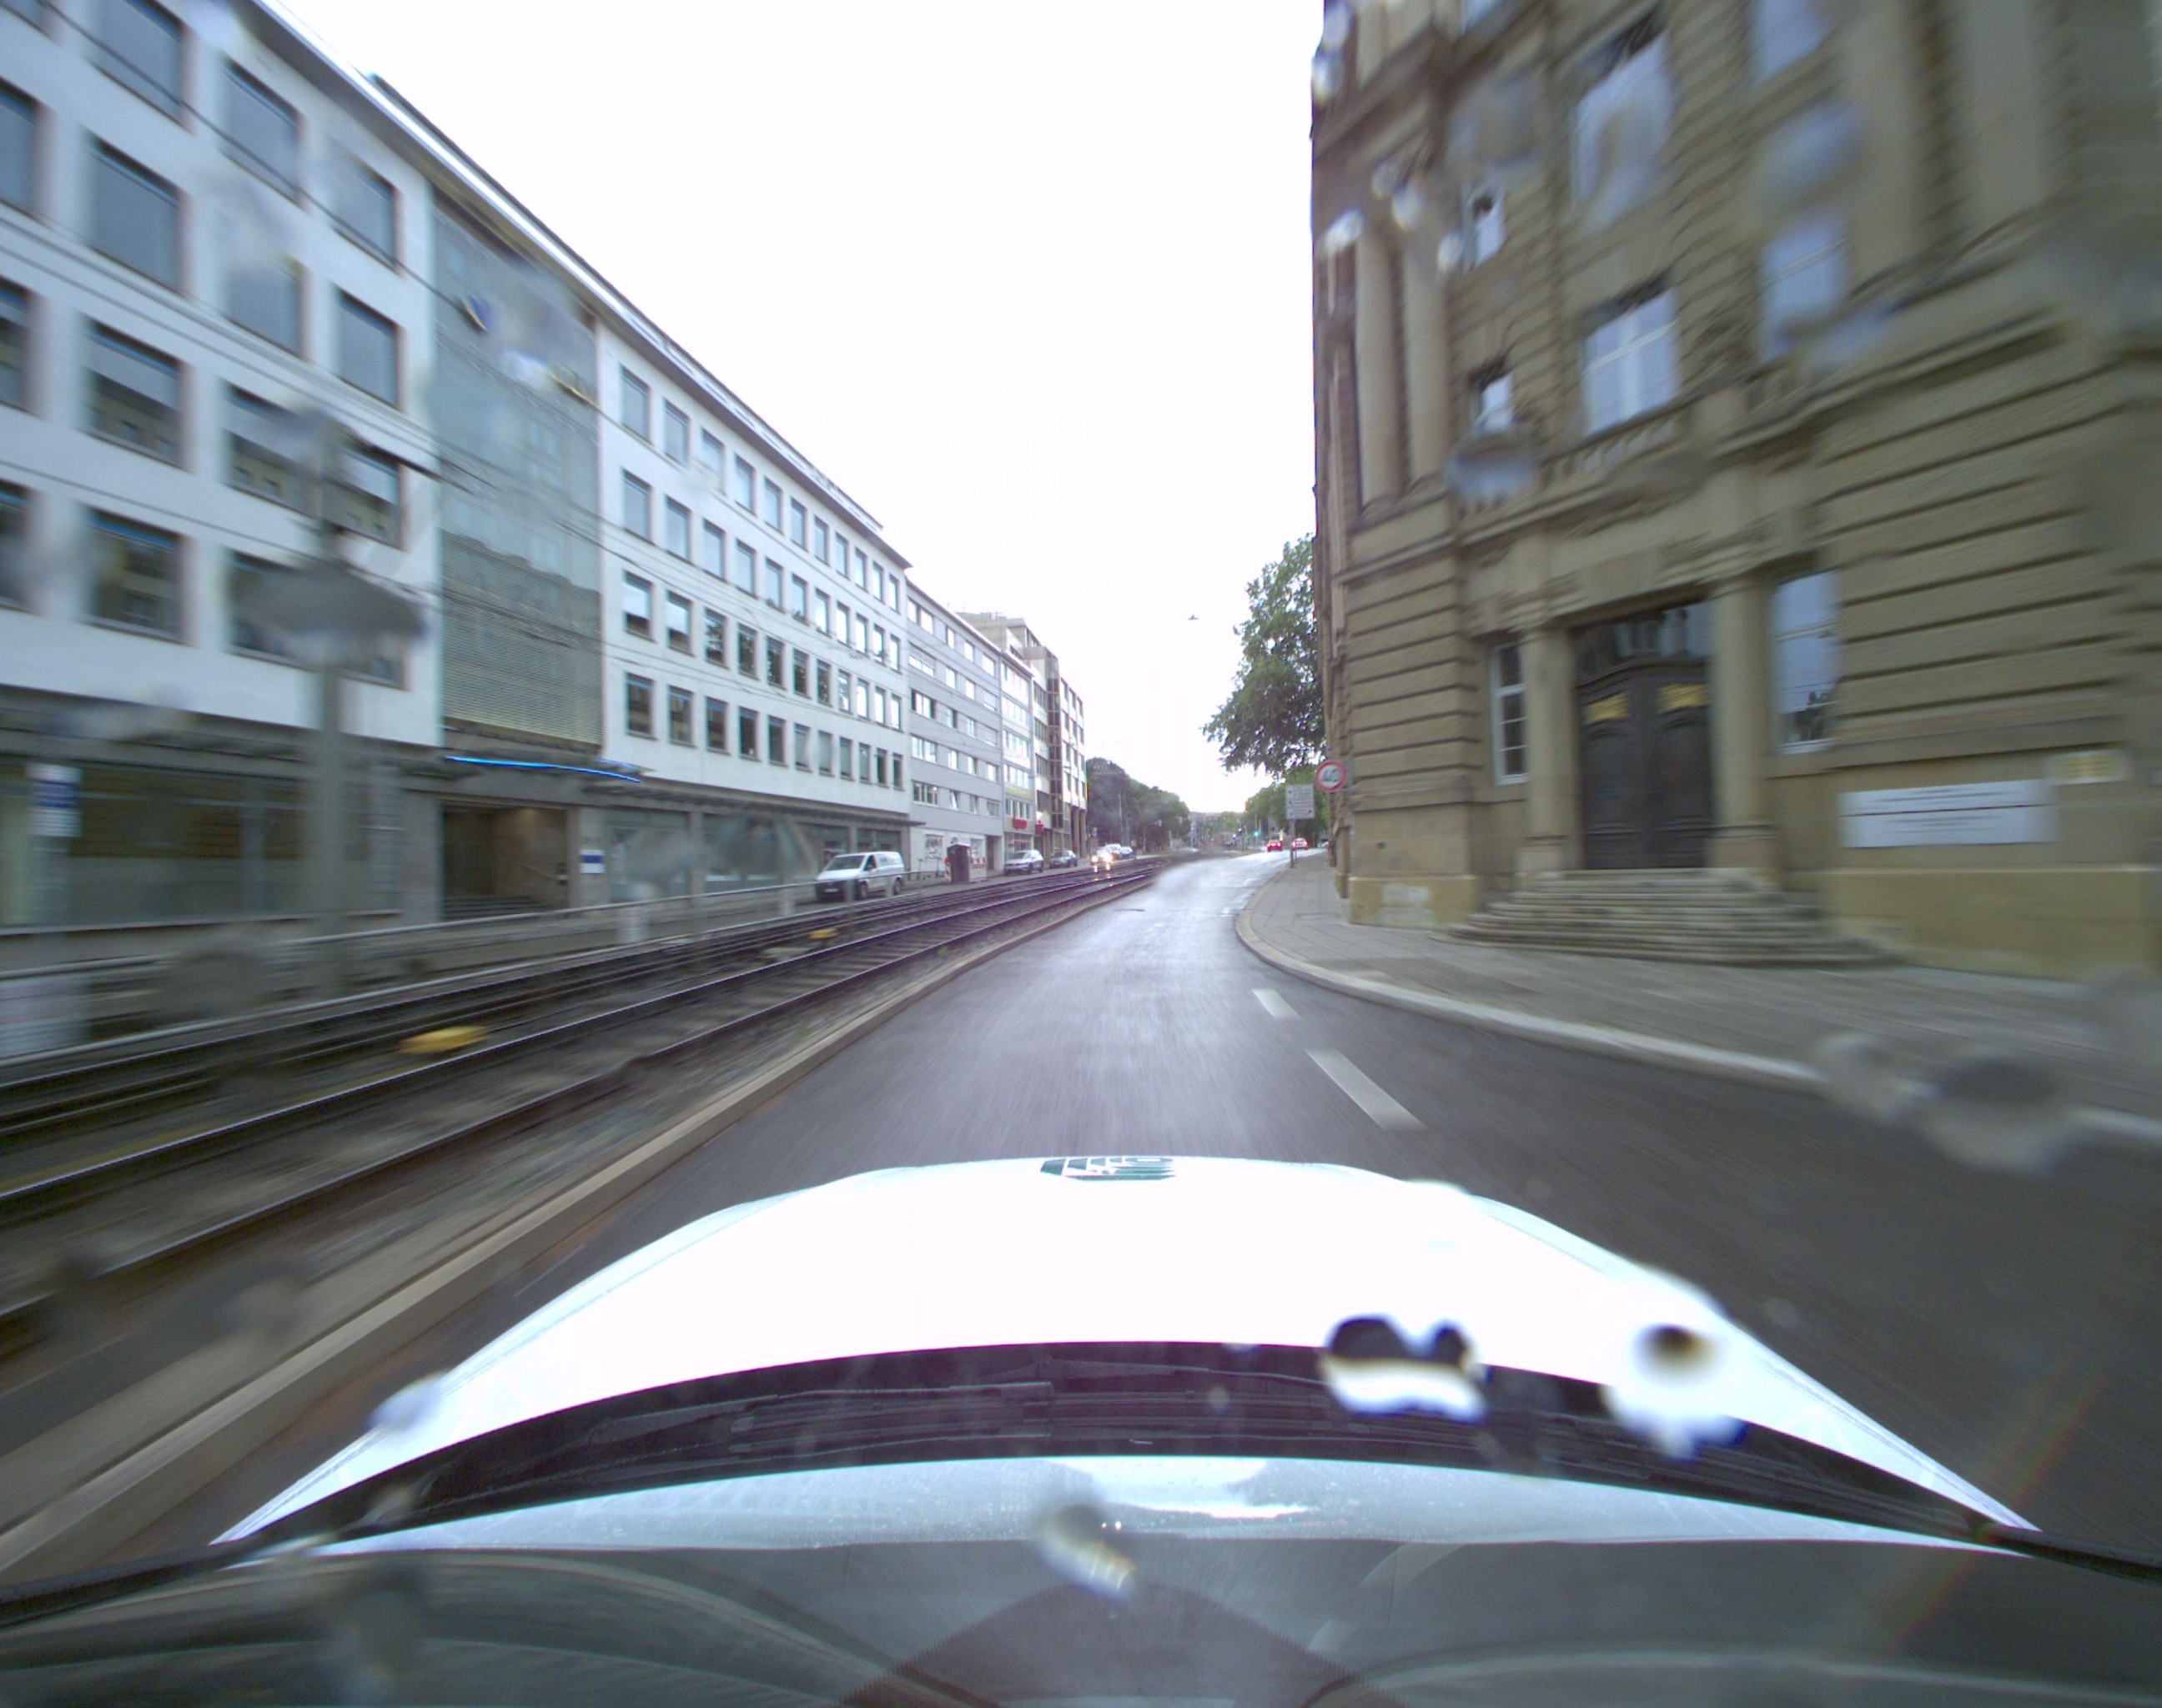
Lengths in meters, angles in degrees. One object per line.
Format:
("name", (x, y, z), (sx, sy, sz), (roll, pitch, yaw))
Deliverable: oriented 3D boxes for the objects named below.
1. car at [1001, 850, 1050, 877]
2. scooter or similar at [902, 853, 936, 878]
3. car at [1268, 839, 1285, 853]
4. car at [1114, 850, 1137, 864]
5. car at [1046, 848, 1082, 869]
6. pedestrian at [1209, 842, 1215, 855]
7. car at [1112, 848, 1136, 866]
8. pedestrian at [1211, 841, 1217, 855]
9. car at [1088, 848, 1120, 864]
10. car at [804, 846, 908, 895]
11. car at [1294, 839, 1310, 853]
("car", (-3.763, 0.621, 55.878), (1.979, 1.673, 4.713), (0, 1, 13))
("scooter or similar", (-9.289, 0.672, 46.901), (0.691, 1.374, 3.100), (-1, -1, 13))
("car", (25.392, -0.998, 105.608), (1.965, 1.640, 4.435), (-1, -1, 16))
("car", (5.232, 0.377, 95.448), (1.981, 1.582, 4.563), (-1, -1, 11))
("car", (-1.382, 0.363, 67.612), (1.981, 1.674, 4.709), (-1, -1, 11))
("pedestrian", (17.410, -0.745, 108.142), (0.639, 1.788, 0.808), (0, -1, -10))
("car", (4.737, 0.330, 89.201), (1.981, 1.850, 4.709), (-1, -1, 11))
("pedestrian", (17.533, -0.766, 107.248), (0.638, 1.788, 0.809), (0, -1, -5))
("car", (2.031, 0.197, 70.311), (1.981, 1.255, 4.709), (-3, -1, 11))
("car", (-9.083, 0.654, 33.415), (1.981, 1.842, 5.147), (-1, -1, 11))
("car", (27.495, -1.021, 101.210), (1.665, 1.576, 4.273), (-3, 0, 19))
